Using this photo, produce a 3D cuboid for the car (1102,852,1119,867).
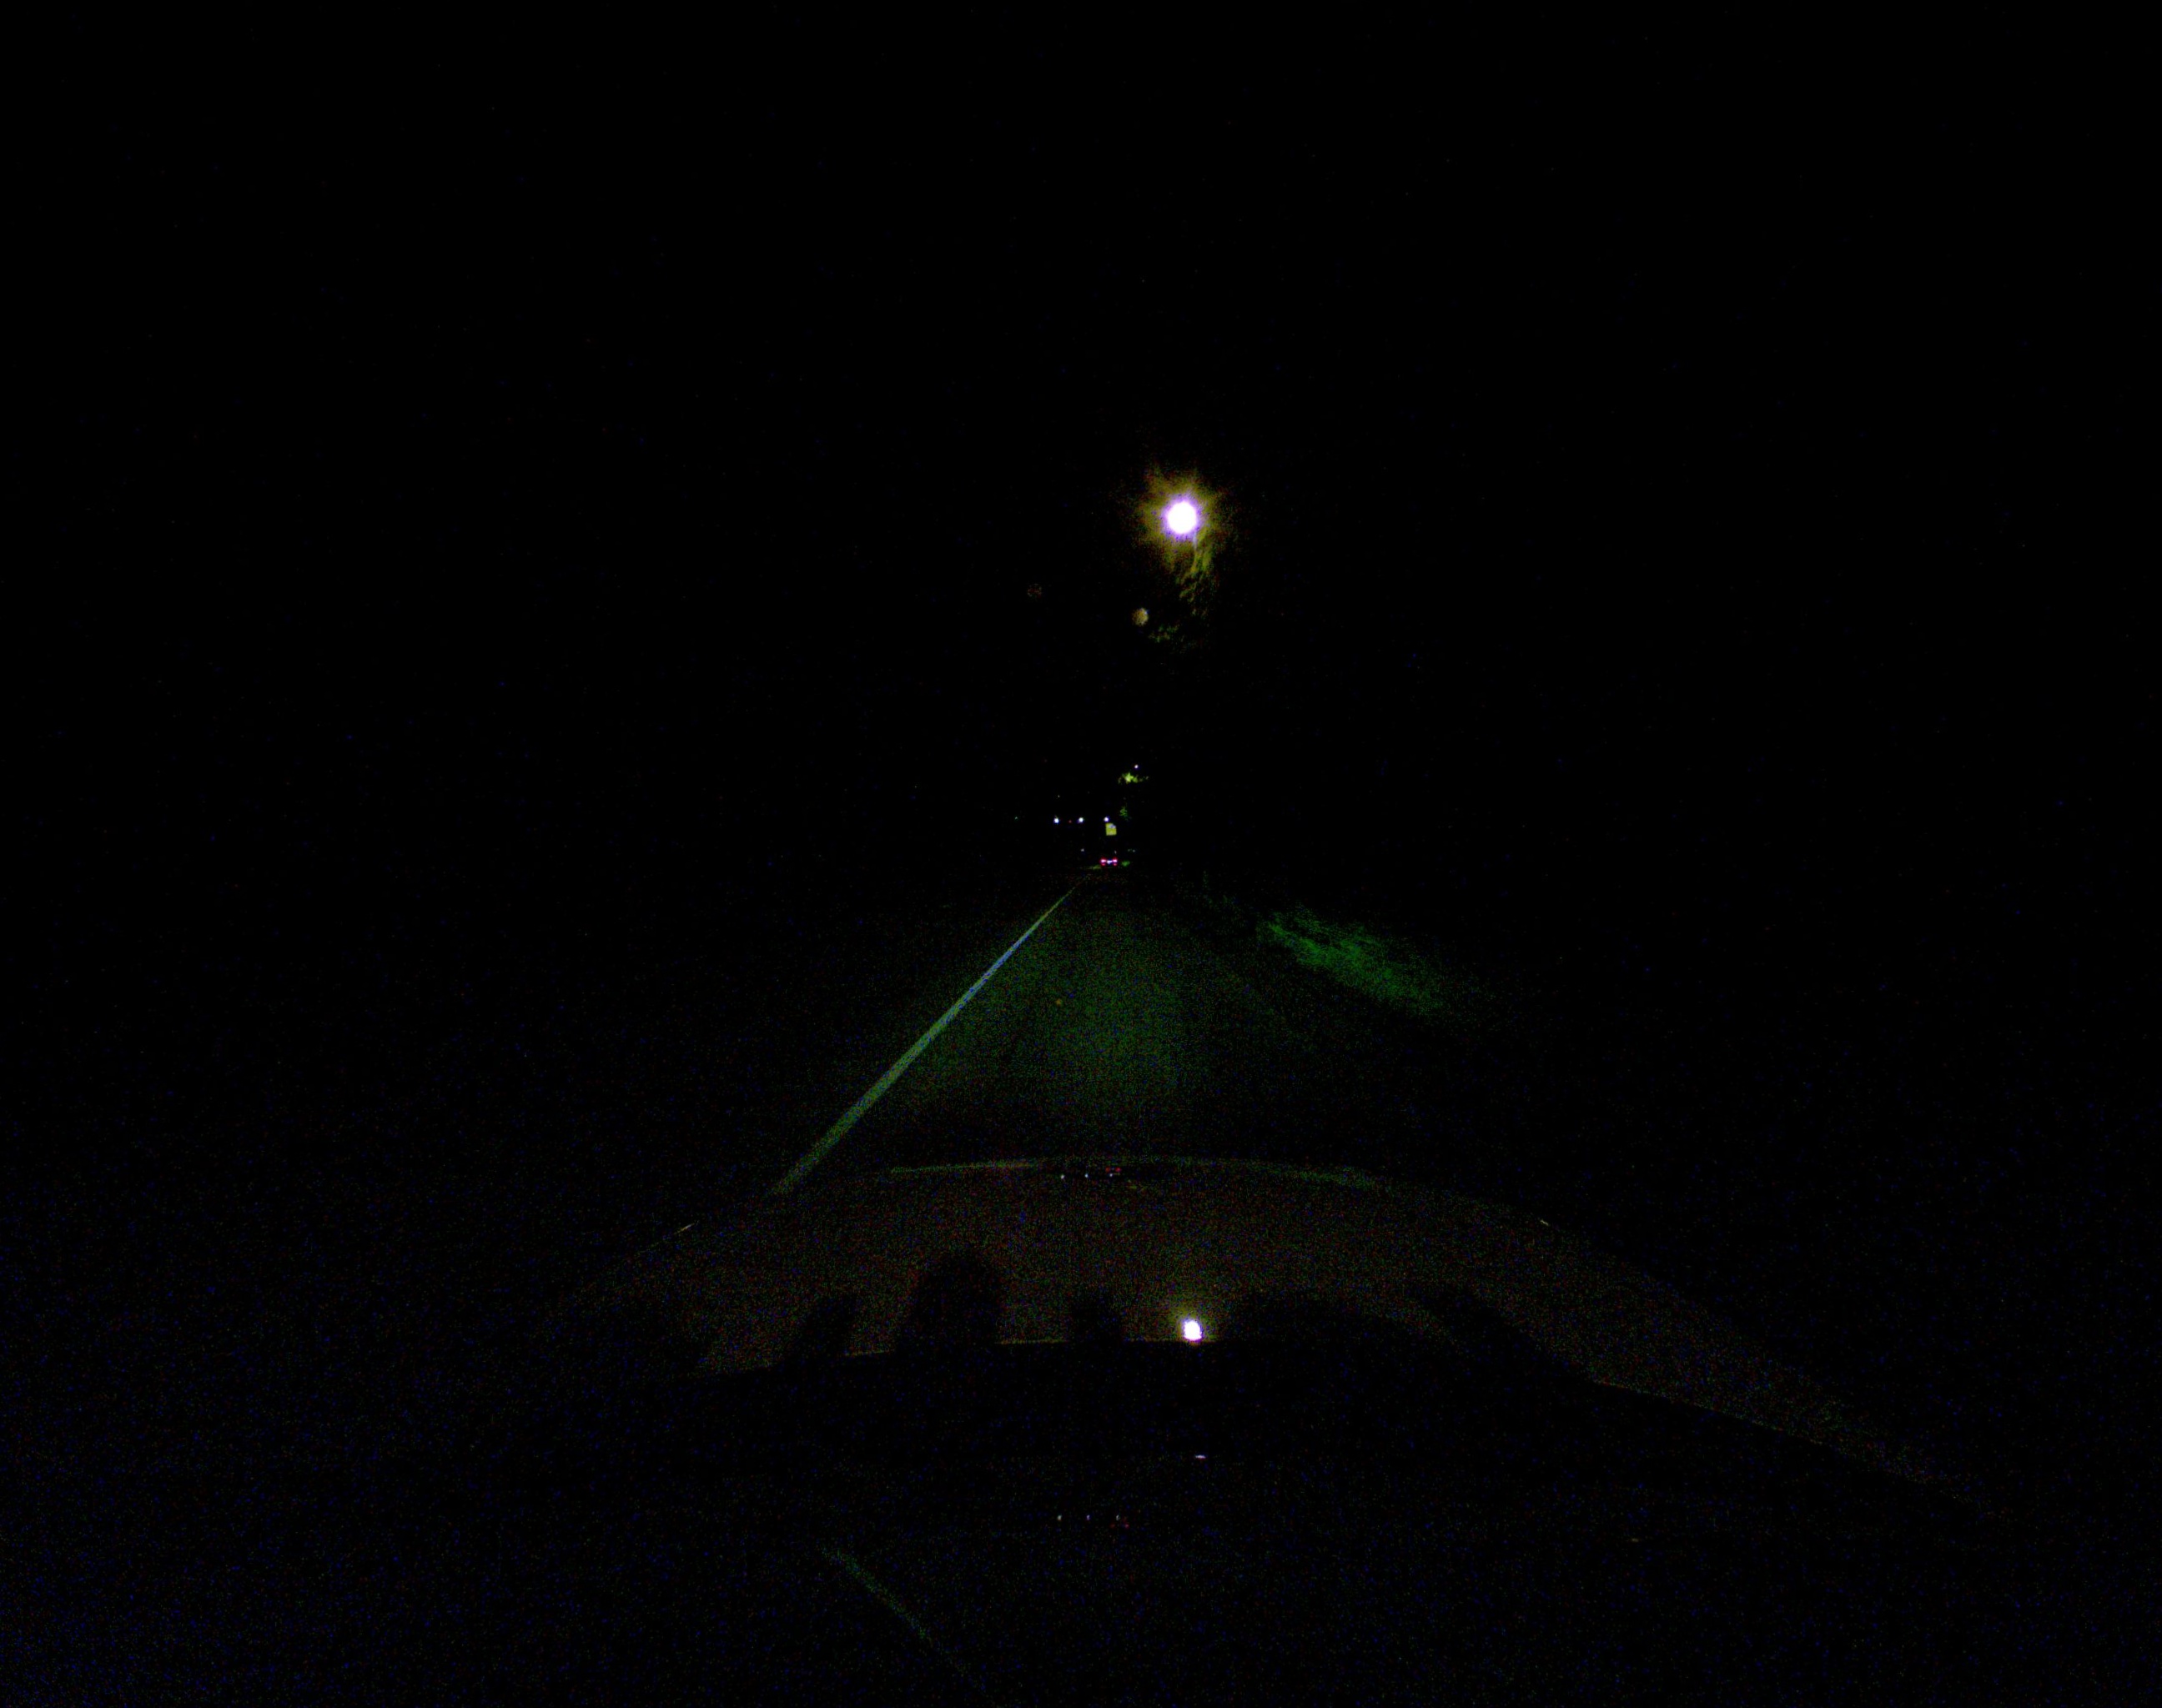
[{"bbox_3d":[3.377,0.635,93.740,1.755,1.641,3.728,-1,1,4],"label":"car"}]
